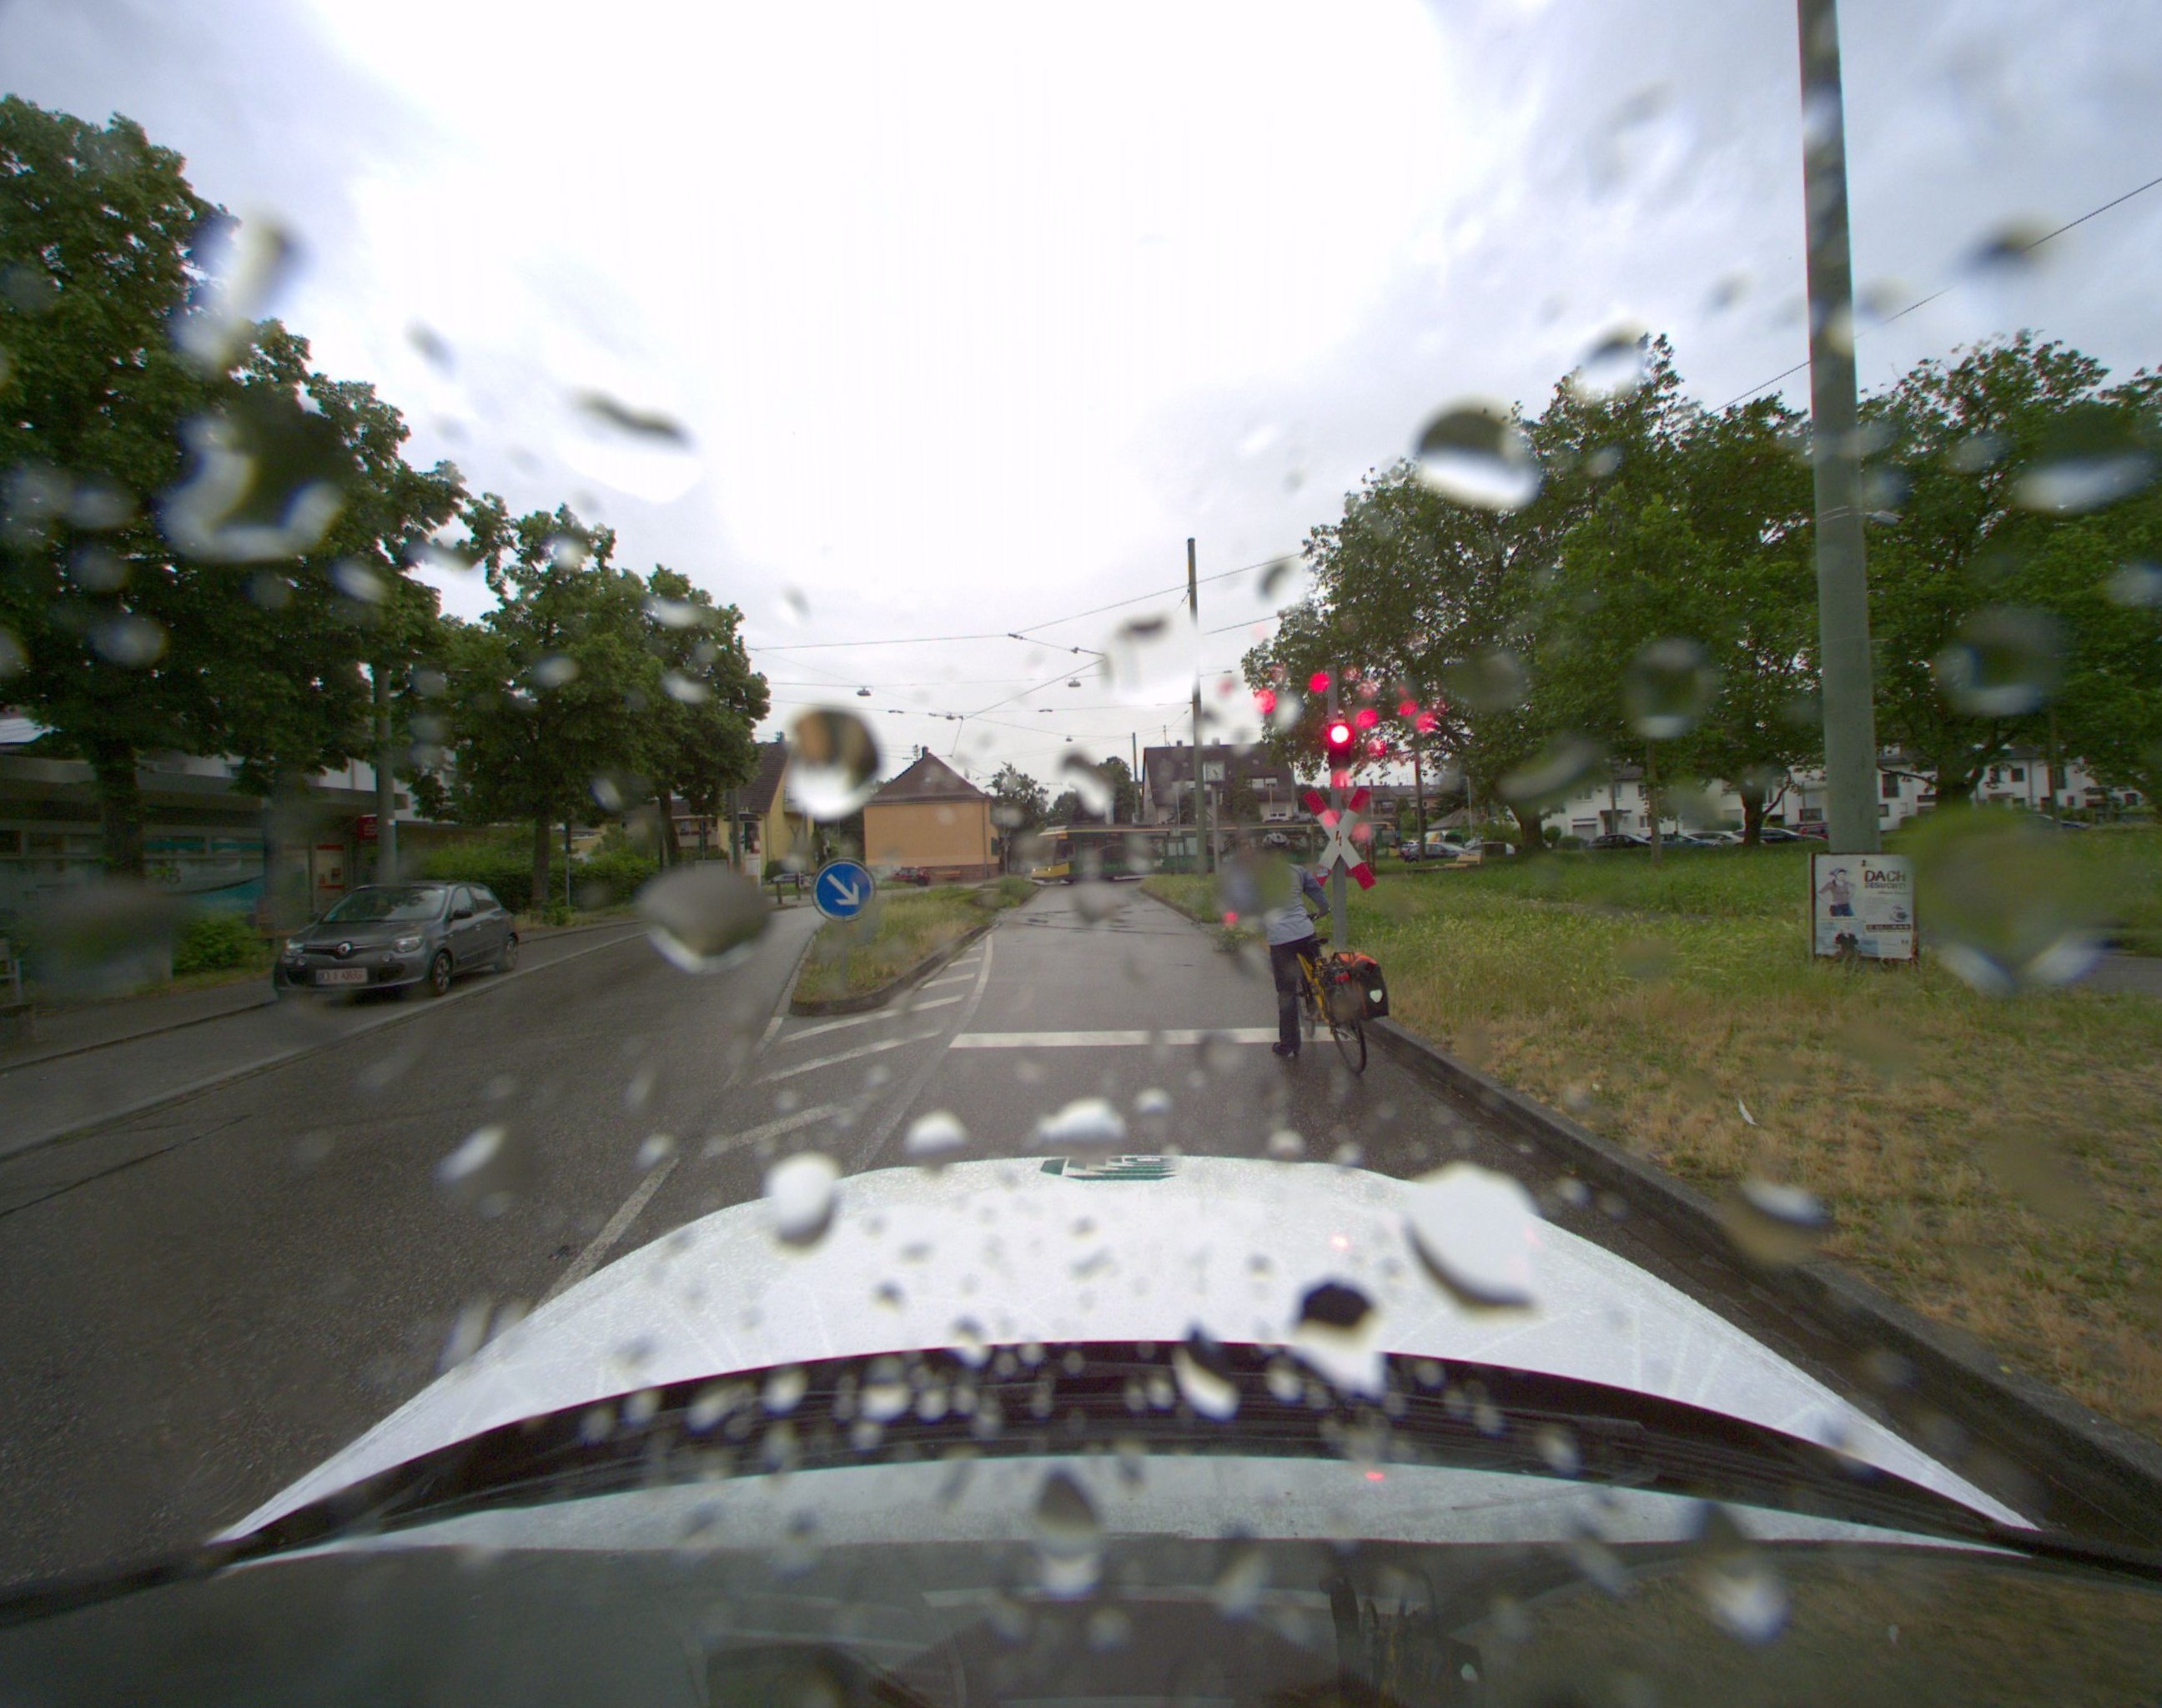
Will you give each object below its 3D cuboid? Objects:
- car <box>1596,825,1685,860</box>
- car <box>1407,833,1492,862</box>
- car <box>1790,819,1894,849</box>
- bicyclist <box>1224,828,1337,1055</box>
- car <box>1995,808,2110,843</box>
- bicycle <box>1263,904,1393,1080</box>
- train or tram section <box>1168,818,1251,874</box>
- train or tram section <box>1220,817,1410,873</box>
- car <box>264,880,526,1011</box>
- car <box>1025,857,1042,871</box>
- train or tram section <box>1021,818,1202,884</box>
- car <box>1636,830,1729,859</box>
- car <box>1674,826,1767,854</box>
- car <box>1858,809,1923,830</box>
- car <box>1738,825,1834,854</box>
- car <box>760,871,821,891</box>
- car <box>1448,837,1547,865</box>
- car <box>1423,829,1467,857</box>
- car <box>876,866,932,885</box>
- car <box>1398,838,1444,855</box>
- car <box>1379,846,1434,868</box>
[{"bbox_3d":[30.543,-0.605,44.534,1.821,1.798,3.721,0,-1,-44],"label":"car"},{"bbox_3d":[20.261,-0.316,44.903,1.821,1.495,3.867,0,-1,-44],"label":"car"},{"bbox_3d":[42.629,-1.081,45.684,1.814,1.495,3.881,0,-1,-27],"label":"car"},{"bbox_3d":[1.508,0.633,6.289,0.665,1.626,0.853,0,-1,1],"label":"bicyclist"},{"bbox_3d":[54.636,-1.569,45.860,1.815,1.765,3.879,0,-1,-29],"label":"car"},{"bbox_3d":[1.795,0.948,6.140,0.444,1.004,1.728,-2,0,1],"label":"bicycle"},{"bbox_3d":[8.596,-0.509,54.397,5.010,3.553,2.739,0,0,-36],"label":"train or tram section"},{"bbox_3d":[16.435,-0.669,57.086,13.105,3.553,2.757,-1,0,-14],"label":"train or tram section"},{"bbox_3d":[-9.680,1.174,11.880,1.621,1.496,3.645,0,-1,-18],"label":"car"},{"bbox_3d":[-5.604,1.207,96.026,1.799,1.651,3.999,0,-1,0],"label":"car"},{"bbox_3d":[2.162,-0.318,49.012,12.269,3.552,2.737,-2,1,-41],"label":"train or tram section"},{"bbox_3d":[33.204,-0.510,44.993,1.821,1.495,3.867,0,-1,-44],"label":"car"},{"bbox_3d":[35.708,-0.747,45.522,1.821,1.495,3.867,0,-1,-44],"label":"car"},{"bbox_3d":[70.001,-2.986,70.454,3.670,1.660,1.891,0,-1,2],"label":"car"},{"bbox_3d":[39.267,-0.774,45.410,1.821,1.495,3.867,0,-1,-44],"label":"car"},{"bbox_3d":[-22.105,2.046,62.029,3.979,1.456,1.831,0,-1,-5],"label":"car"},{"bbox_3d":[20.506,-0.124,40.250,3.964,1.285,1.851,0,-1,9],"label":"car"},{"bbox_3d":[32.577,-0.959,72.995,1.987,2.443,4.354,0,-1,1],"label":"car"},{"bbox_3d":[-13.659,1.667,63.074,3.979,1.456,1.831,0,-1,-5],"label":"car"},{"bbox_3d":[35.428,-0.765,84.948,3.971,1.640,1.847,0,-1,2],"label":"car"},{"bbox_3d":[25.898,0.218,64.955,3.670,1.701,1.891,0,-1,2],"label":"car"}]
